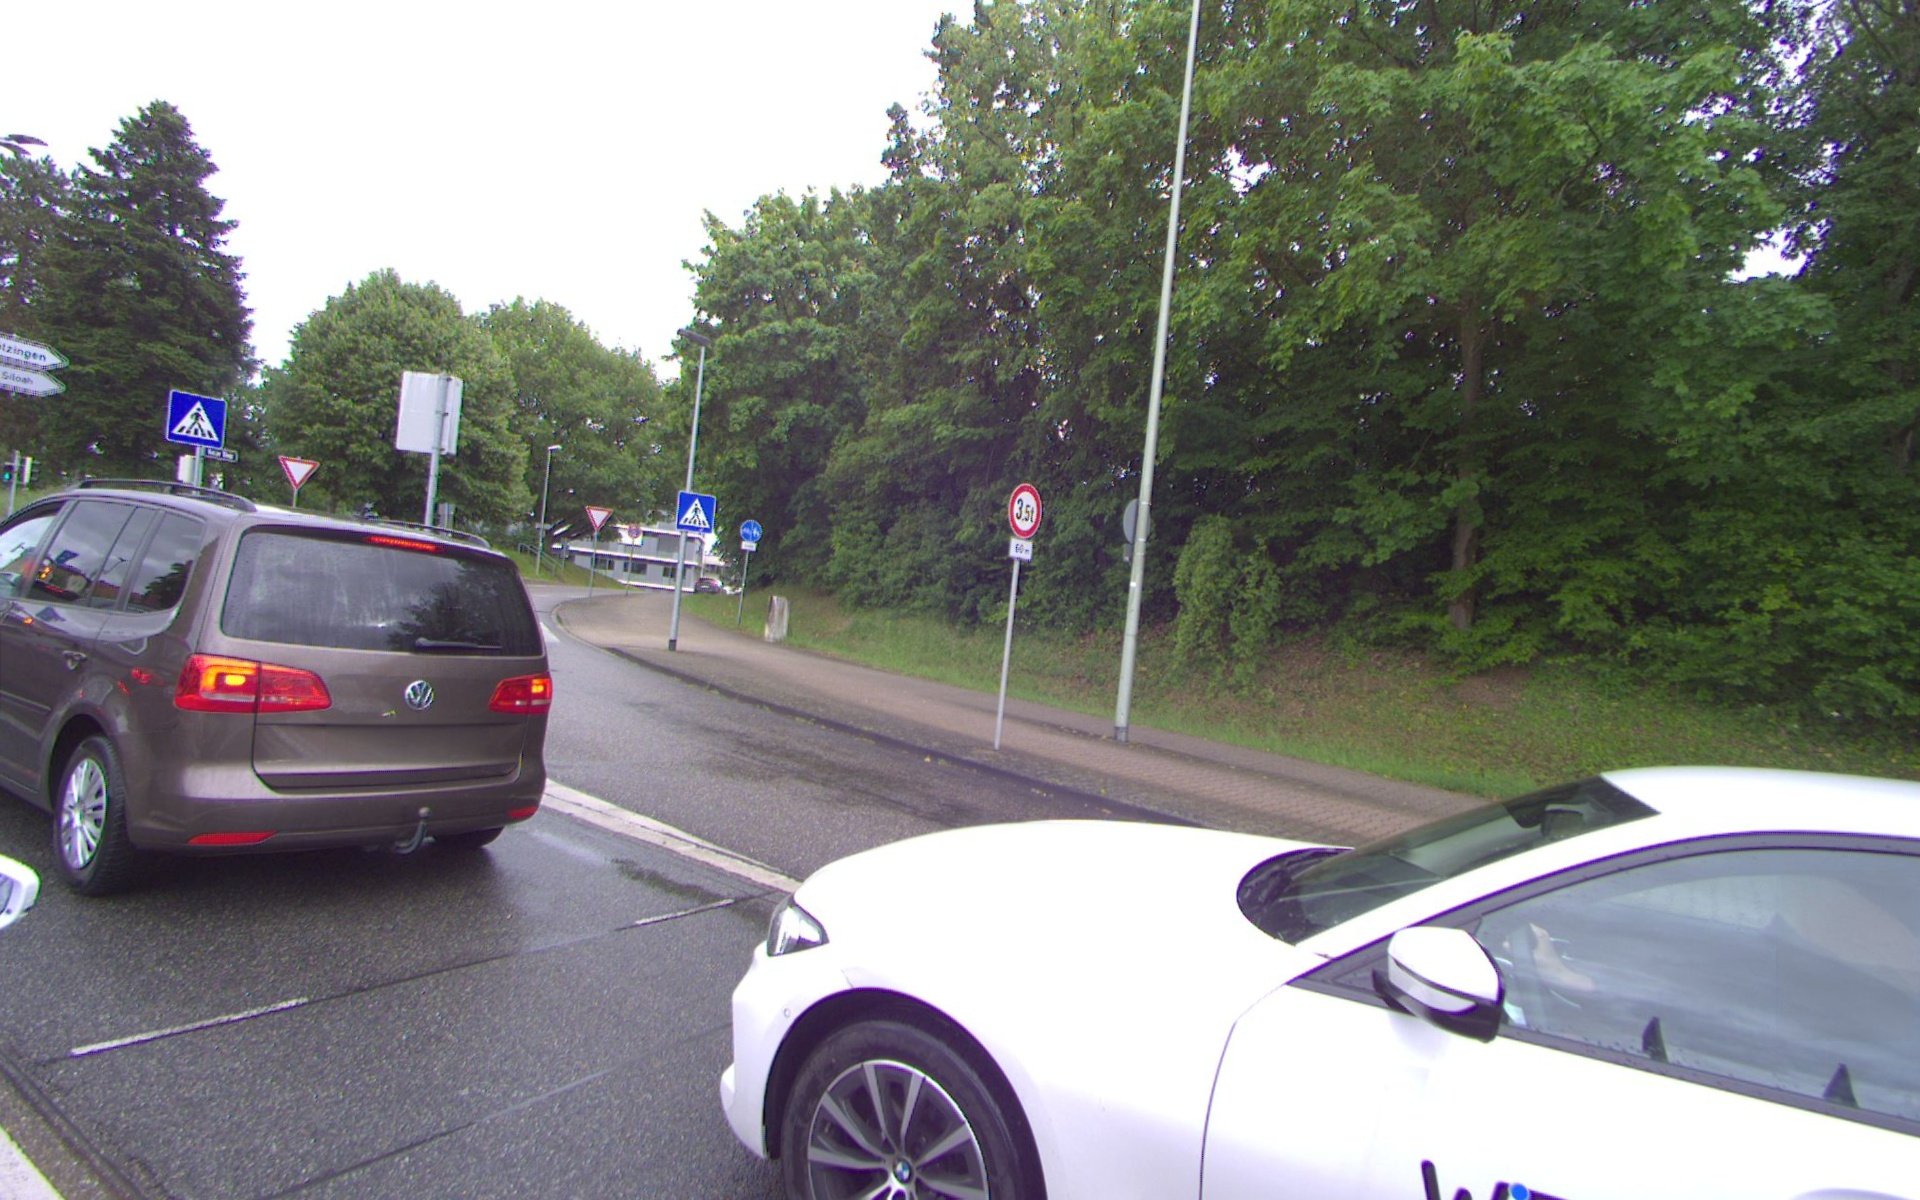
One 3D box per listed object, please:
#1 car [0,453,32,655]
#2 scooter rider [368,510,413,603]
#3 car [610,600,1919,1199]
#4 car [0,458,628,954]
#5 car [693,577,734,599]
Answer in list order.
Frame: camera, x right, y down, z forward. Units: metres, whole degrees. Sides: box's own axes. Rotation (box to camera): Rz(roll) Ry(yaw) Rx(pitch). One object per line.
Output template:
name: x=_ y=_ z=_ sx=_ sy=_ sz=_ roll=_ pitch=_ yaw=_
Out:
car: x=-11.010 y=-0.690 z=9.805 sx=3.741 sy=1.900 sz=1.768 roll=7 pitch=-1 yaw=31
scooter rider: x=-12.743 y=-0.971 z=22.525 sx=0.538 sy=1.990 sz=0.501 roll=7 pitch=1 yaw=31
car: x=1.635 y=1.030 z=2.097 sx=4.601 sy=1.474 sz=1.783 roll=6 pitch=-1 yaw=30
car: x=-3.794 y=0.273 z=5.140 sx=3.915 sy=1.628 sz=1.750 roll=6 pitch=-1 yaw=32
car: x=-18.013 y=-0.873 z=73.751 sx=1.692 sy=1.270 sz=4.001 roll=7 pitch=0 yaw=3
